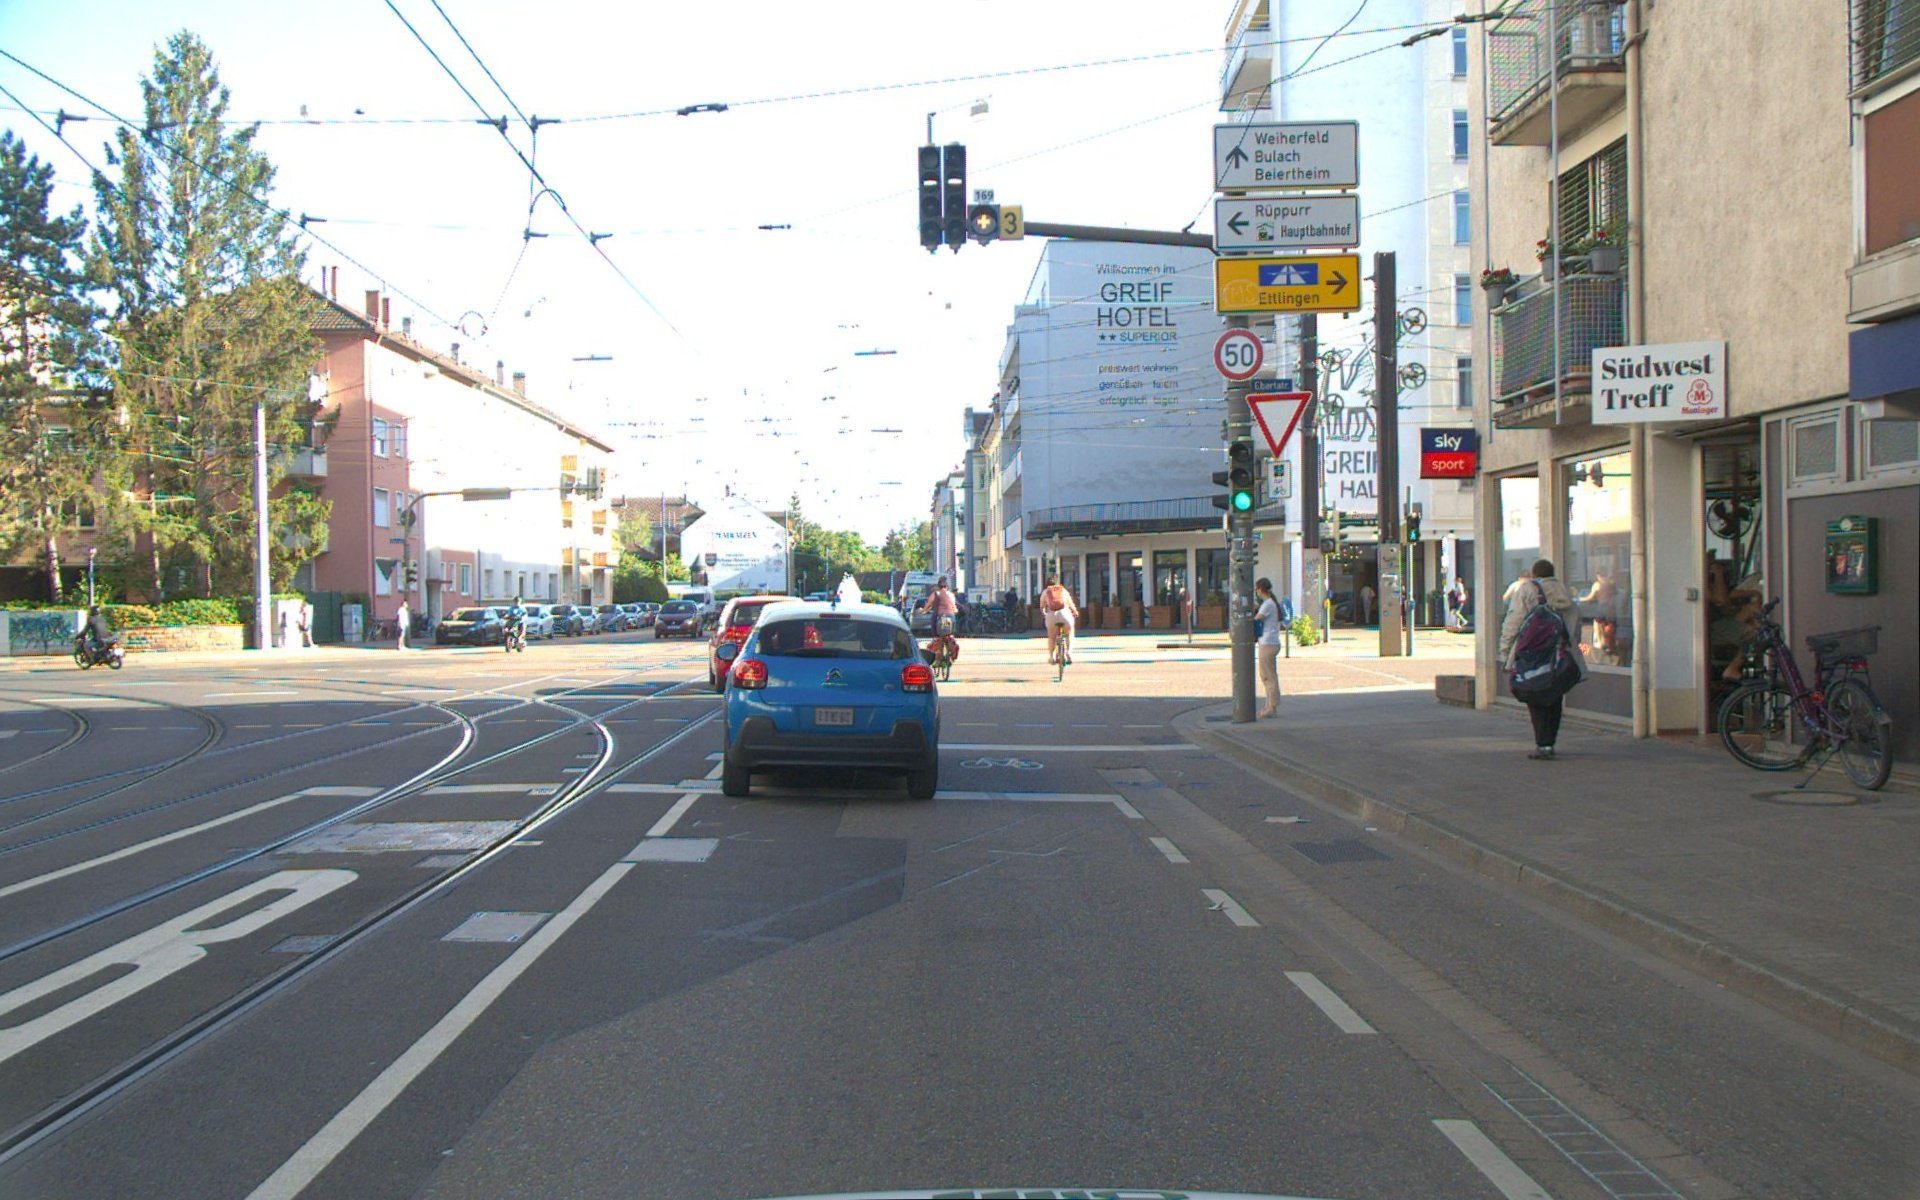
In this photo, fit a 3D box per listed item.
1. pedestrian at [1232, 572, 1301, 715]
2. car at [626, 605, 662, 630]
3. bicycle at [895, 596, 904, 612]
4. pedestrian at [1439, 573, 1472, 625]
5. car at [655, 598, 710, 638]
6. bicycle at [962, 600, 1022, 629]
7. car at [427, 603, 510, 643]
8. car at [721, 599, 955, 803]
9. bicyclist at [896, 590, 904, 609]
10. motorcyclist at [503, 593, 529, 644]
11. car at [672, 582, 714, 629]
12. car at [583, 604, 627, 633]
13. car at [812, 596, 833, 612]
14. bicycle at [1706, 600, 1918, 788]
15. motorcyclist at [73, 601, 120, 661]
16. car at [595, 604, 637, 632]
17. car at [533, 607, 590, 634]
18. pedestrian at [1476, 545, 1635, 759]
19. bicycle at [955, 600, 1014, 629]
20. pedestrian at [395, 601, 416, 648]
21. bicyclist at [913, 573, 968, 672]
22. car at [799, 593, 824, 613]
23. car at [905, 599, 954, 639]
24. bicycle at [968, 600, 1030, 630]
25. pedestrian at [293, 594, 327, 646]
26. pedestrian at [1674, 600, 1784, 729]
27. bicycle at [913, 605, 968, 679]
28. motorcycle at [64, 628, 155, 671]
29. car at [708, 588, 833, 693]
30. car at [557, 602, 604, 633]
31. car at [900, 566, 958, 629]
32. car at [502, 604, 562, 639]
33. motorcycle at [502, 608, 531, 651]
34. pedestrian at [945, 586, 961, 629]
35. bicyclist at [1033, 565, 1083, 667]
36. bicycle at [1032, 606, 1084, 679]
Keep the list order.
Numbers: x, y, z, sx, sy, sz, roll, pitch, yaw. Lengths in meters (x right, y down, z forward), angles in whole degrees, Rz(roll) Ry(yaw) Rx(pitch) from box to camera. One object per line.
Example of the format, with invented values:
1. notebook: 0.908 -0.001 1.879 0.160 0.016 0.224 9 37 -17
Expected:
1. pedestrian: 3.682 0.519 19.860 0.528 1.652 0.733 -6 -3 23
2. car: -20.784 1.122 108.856 1.832 1.604 3.997 1 0 -4
3. bicycle: -6.524 0.415 178.622 0.774 1.699 2.230 1 0 3
4. pedestrian: 17.187 -0.033 57.390 0.888 1.777 0.737 1 -1 -2
5. car: -11.068 0.695 66.137 1.743 1.512 3.826 -1 0 -3
6. bicycle: 1.217 0.559 62.871 2.206 1.019 0.856 -2 0 -4
7. car: -19.370 0.930 65.362 2.111 1.457 4.437 1 -2 -3
8. car: -1.146 0.737 13.944 1.704 1.478 3.655 0 0 -9
9. bicyclist: -6.516 -0.063 178.628 0.774 2.060 0.986 1 -1 3
10. motorcyclist: -13.321 0.553 49.615 0.683 1.523 0.680 0 -2 -20
11. car: -18.635 0.417 115.487 2.369 3.197 3.487 1 0 -1
12. car: -20.227 1.061 94.377 1.832 1.604 3.997 1 0 -4
13. car: -15.275 0.440 183.615 2.032 1.793 5.035 1 0 -2
14. bicycle: 5.771 0.599 11.314 0.486 1.182 1.776 0 -1 -1
15. motorcyclist: -22.270 0.799 42.659 0.711 1.514 0.858 1 -1 4
16. car: -20.510 1.077 98.764 1.832 1.604 3.997 1 0 -4
17. car: -19.743 1.002 82.106 1.908 1.261 4.280 1 0 -3
18. pedestrian: 4.788 0.398 13.342 0.868 1.619 0.810 -3 1 -7
19. bicycle: 0.936 0.574 63.979 2.206 1.019 0.856 -2 0 -4
20. pedestrian: -19.225 0.848 57.342 0.506 1.596 0.573 1 -1 -1
21. bicyclist: -0.335 0.396 29.381 0.921 1.702 1.079 1 -1 0
22. car: -14.899 0.286 166.130 2.173 1.965 4.947 1 0 -2
23. car: -1.198 0.706 63.513 1.625 1.456 3.885 1 0 -5
24. bicycle: 1.452 0.566 61.532 2.206 1.019 0.856 -2 0 -4
25. pedestrian: -22.177 0.681 56.448 0.688 1.752 0.783 1 -1 26
26. pedestrian: 6.926 0.568 14.897 0.618 1.106 0.670 -2 1 -36
27. bicycle: -0.331 0.722 29.399 0.921 1.245 2.094 1 0 0
28. motorcycle: -21.906 1.268 42.632 1.895 1.065 0.858 1 0 3
29. car: -3.142 0.605 26.883 1.752 1.548 3.753 1 1 -10
30. car: -20.229 0.910 88.315 1.832 1.604 3.997 1 0 -4
31. car: -1.329 -0.086 68.589 2.220 2.525 5.005 0 0 -3
32. car: -19.484 0.958 75.402 1.706 1.553 4.228 1 0 -2
33. motorcycle: -13.318 0.891 49.623 0.701 1.241 1.954 0 -2 -19
34. pedestrian: -0.276 0.285 65.380 0.600 1.683 0.671 1 -1 0
35. bicyclist: 1.703 0.268 28.556 0.794 1.721 0.936 1 -1 6
36. bicycle: 1.712 0.718 28.731 0.794 1.202 2.065 1 0 6
